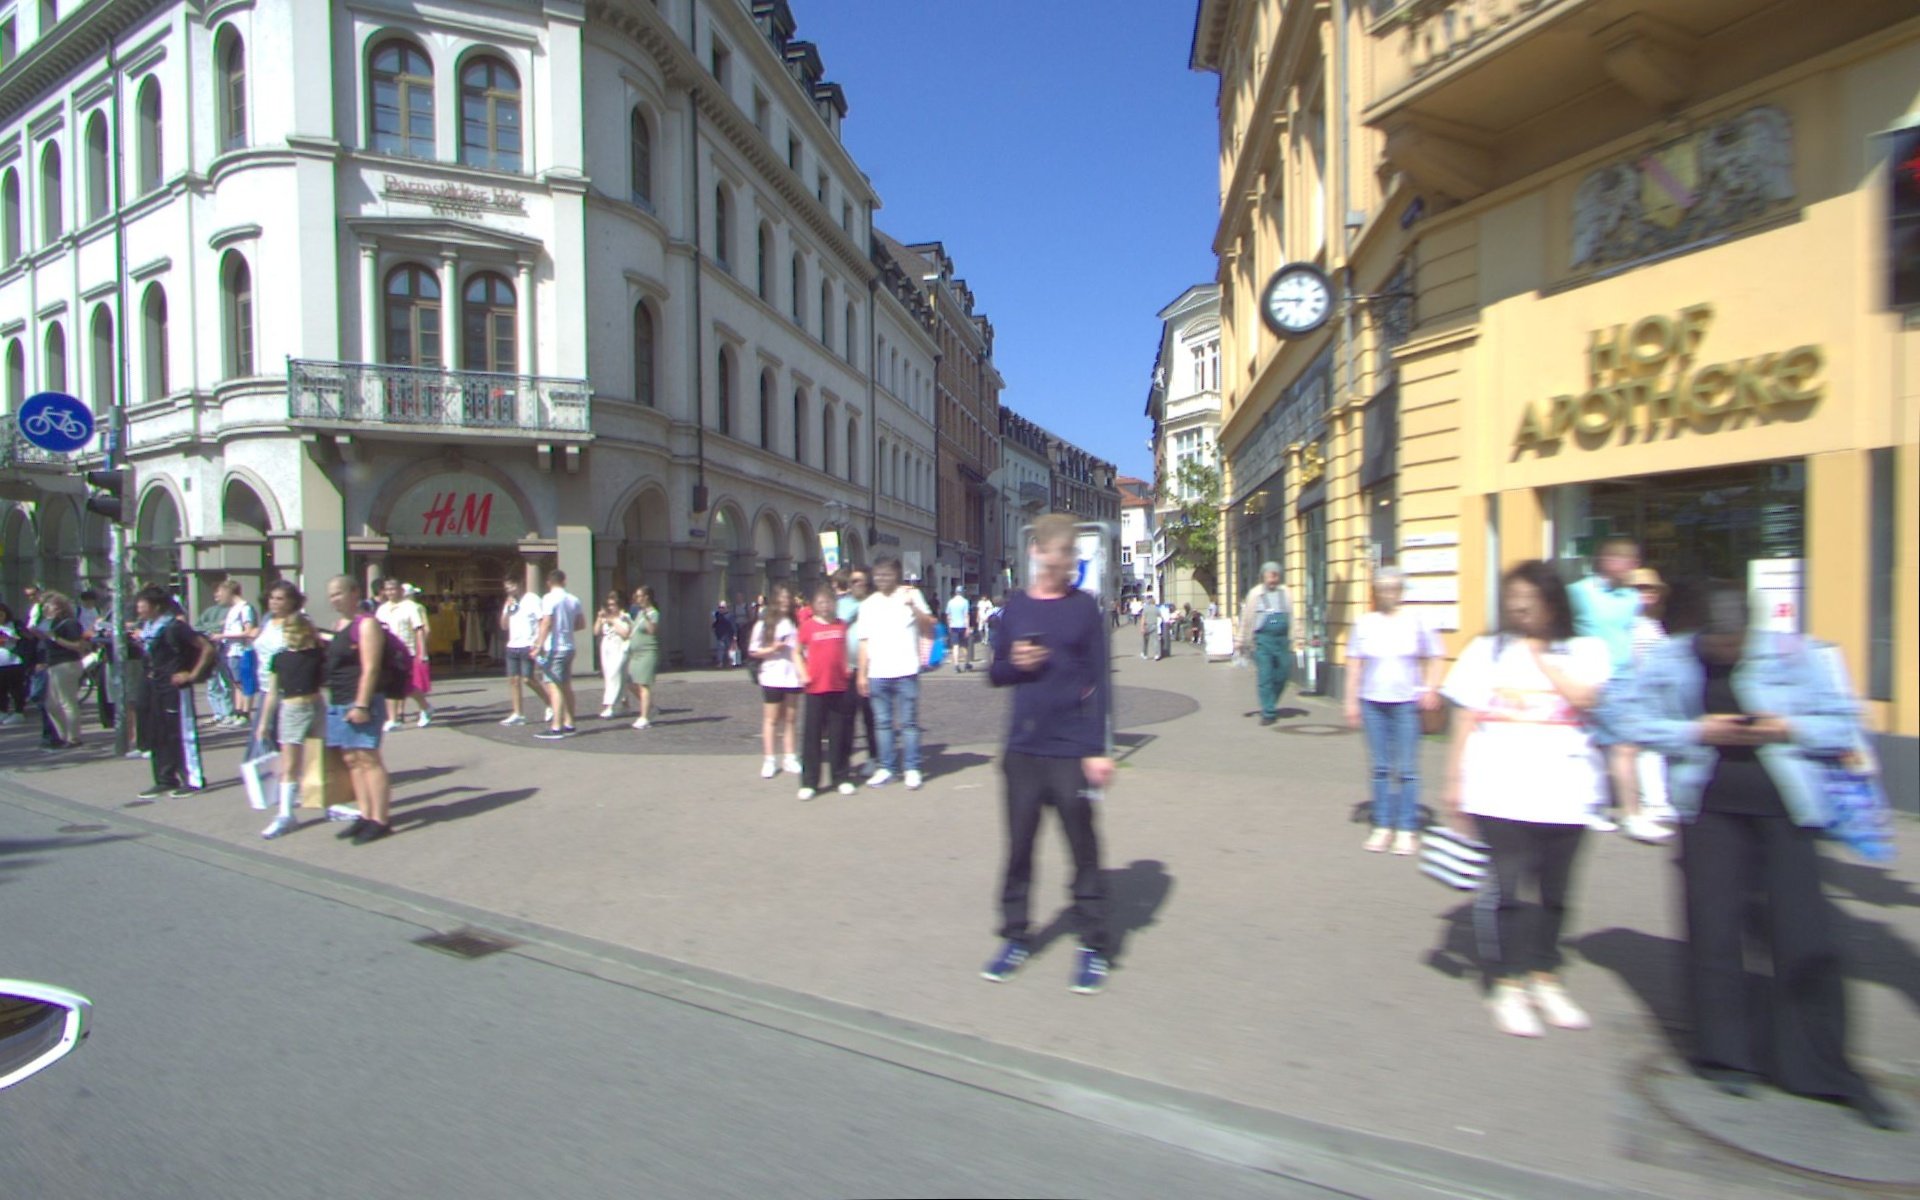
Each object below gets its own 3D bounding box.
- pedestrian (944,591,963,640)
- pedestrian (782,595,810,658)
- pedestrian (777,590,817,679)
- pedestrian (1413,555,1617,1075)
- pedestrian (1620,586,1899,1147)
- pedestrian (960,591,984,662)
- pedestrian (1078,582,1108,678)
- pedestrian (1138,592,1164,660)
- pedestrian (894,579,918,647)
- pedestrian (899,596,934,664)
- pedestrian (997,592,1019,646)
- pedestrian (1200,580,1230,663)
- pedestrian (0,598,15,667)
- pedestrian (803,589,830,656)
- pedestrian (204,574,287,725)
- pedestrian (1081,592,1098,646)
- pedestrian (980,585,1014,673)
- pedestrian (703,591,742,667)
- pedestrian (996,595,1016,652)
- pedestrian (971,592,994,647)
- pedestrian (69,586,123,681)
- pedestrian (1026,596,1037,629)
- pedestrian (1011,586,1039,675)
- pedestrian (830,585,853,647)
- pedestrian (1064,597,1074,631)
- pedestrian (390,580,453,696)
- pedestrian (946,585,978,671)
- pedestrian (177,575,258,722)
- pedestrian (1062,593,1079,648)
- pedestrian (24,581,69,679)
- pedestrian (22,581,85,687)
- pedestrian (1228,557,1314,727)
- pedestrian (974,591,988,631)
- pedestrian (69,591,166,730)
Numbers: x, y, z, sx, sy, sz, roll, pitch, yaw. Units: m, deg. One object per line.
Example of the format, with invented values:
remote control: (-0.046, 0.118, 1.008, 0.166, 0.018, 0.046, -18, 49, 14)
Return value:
pedestrian: (-0.263, 0.592, 38.922, 0.615, 1.894, 0.659, 0, 1, 9)
pedestrian: (-4.273, 0.692, 26.101, 0.557, 1.621, 0.659, 1, 0, 6)
pedestrian: (-3.246, 0.676, 19.954, 0.664, 1.739, 0.542, 1, 0, 2)
pedestrian: (1.977, 0.681, 3.552, 0.581, 1.653, 0.547, 0, 2, 35)
pedestrian: (2.450, 0.735, 3.135, 0.633, 1.542, 0.521, 0, 2, 35)
pedestrian: (0.325, 0.715, 27.134, 0.557, 1.893, 0.659, 1, 0, 6)
pedestrian: (2.676, 0.609, 20.229, 0.557, 1.893, 0.659, 1, 0, 6)
pedestrian: (4.783, 0.657, 25.123, 0.557, 1.671, 0.659, 1, 0, 6)
pedestrian: (-1.523, 0.375, 28.464, 0.557, 1.893, 0.659, 1, 0, 6)
pedestrian: (-1.055, 0.730, 24.541, 0.745, 1.638, 0.659, 1, 0, 6)
pedestrian: (1.703, 0.669, 35.200, 0.703, 1.893, 0.740, 1, 0, 6)
pedestrian: (5.961, 0.504, 23.389, 0.557, 1.893, 0.659, 1, 0, 6)
pedestrian: (-22.519, 0.761, 23.267, 0.603, 1.593, 0.674, 0, 1, 30)
pedestrian: (-3.869, 0.610, 26.983, 0.557, 1.758, 0.659, 1, 0, 6)
pedestrian: (-8.921, 0.604, 12.514, 0.667, 1.831, 0.609, 0, 0, 30)
pedestrian: (4.572, 0.666, 35.336, 0.557, 1.894, 0.659, 0, 1, 6)
pedestrian: (0.824, 0.632, 21.939, 0.668, 1.893, 0.659, 1, 0, 6)
pedestrian: (-5.374, 0.648, 22.677, 0.665, 1.701, 0.611, 0, 0, 10)
pedestrian: (1.475, 0.754, 32.115, 0.557, 1.775, 0.659, 1, 0, 6)
pedestrian: (0.793, 0.688, 35.507, 0.703, 1.893, 0.740, 1, 0, 6)
pedestrian: (-16.842, 0.649, 19.519, 0.603, 1.815, 0.627, 0, 1, 32)
pedestrian: (4.160, 0.724, 57.956, 0.557, 1.894, 0.659, 0, 1, 9)
pedestrian: (1.426, 0.666, 21.837, 0.557, 1.893, 0.659, 1, 0, 6)
pedestrian: (-3.639, 0.497, 30.823, 0.557, 1.893, 0.659, 1, 0, 6)
pedestrian: (5.375, 0.683, 49.435, 0.442, 1.699, 0.492, 0, 1, 9)
pedestrian: (-8.538, 0.588, 15.889, 0.667, 1.787, 0.609, 0, 0, 30)
pedestrian: (0.054, 0.621, 22.438, 0.664, 1.893, 0.542, 1, 0, 2)
pedestrian: (-9.525, 0.608, 12.854, 0.667, 1.831, 0.609, 0, 0, 30)
pedestrian: (3.875, 0.702, 35.016, 0.557, 1.894, 0.659, 0, 1, 9)
pedestrian: (-17.187, 0.553, 18.841, 0.603, 1.815, 0.476, 0, 1, 32)
pedestrian: (-15.883, 0.580, 17.549, 0.603, 1.815, 0.674, 0, 1, 32)
pedestrian: (3.512, 0.473, 11.375, 0.771, 1.847, 0.808, -1, 0, 9)
pedestrian: (1.023, 0.540, 48.208, 0.557, 1.894, 0.659, 0, 1, 9)
pedestrian: (-10.791, 0.757, 12.845, 0.664, 1.728, 0.611, 0, 2, 4)
